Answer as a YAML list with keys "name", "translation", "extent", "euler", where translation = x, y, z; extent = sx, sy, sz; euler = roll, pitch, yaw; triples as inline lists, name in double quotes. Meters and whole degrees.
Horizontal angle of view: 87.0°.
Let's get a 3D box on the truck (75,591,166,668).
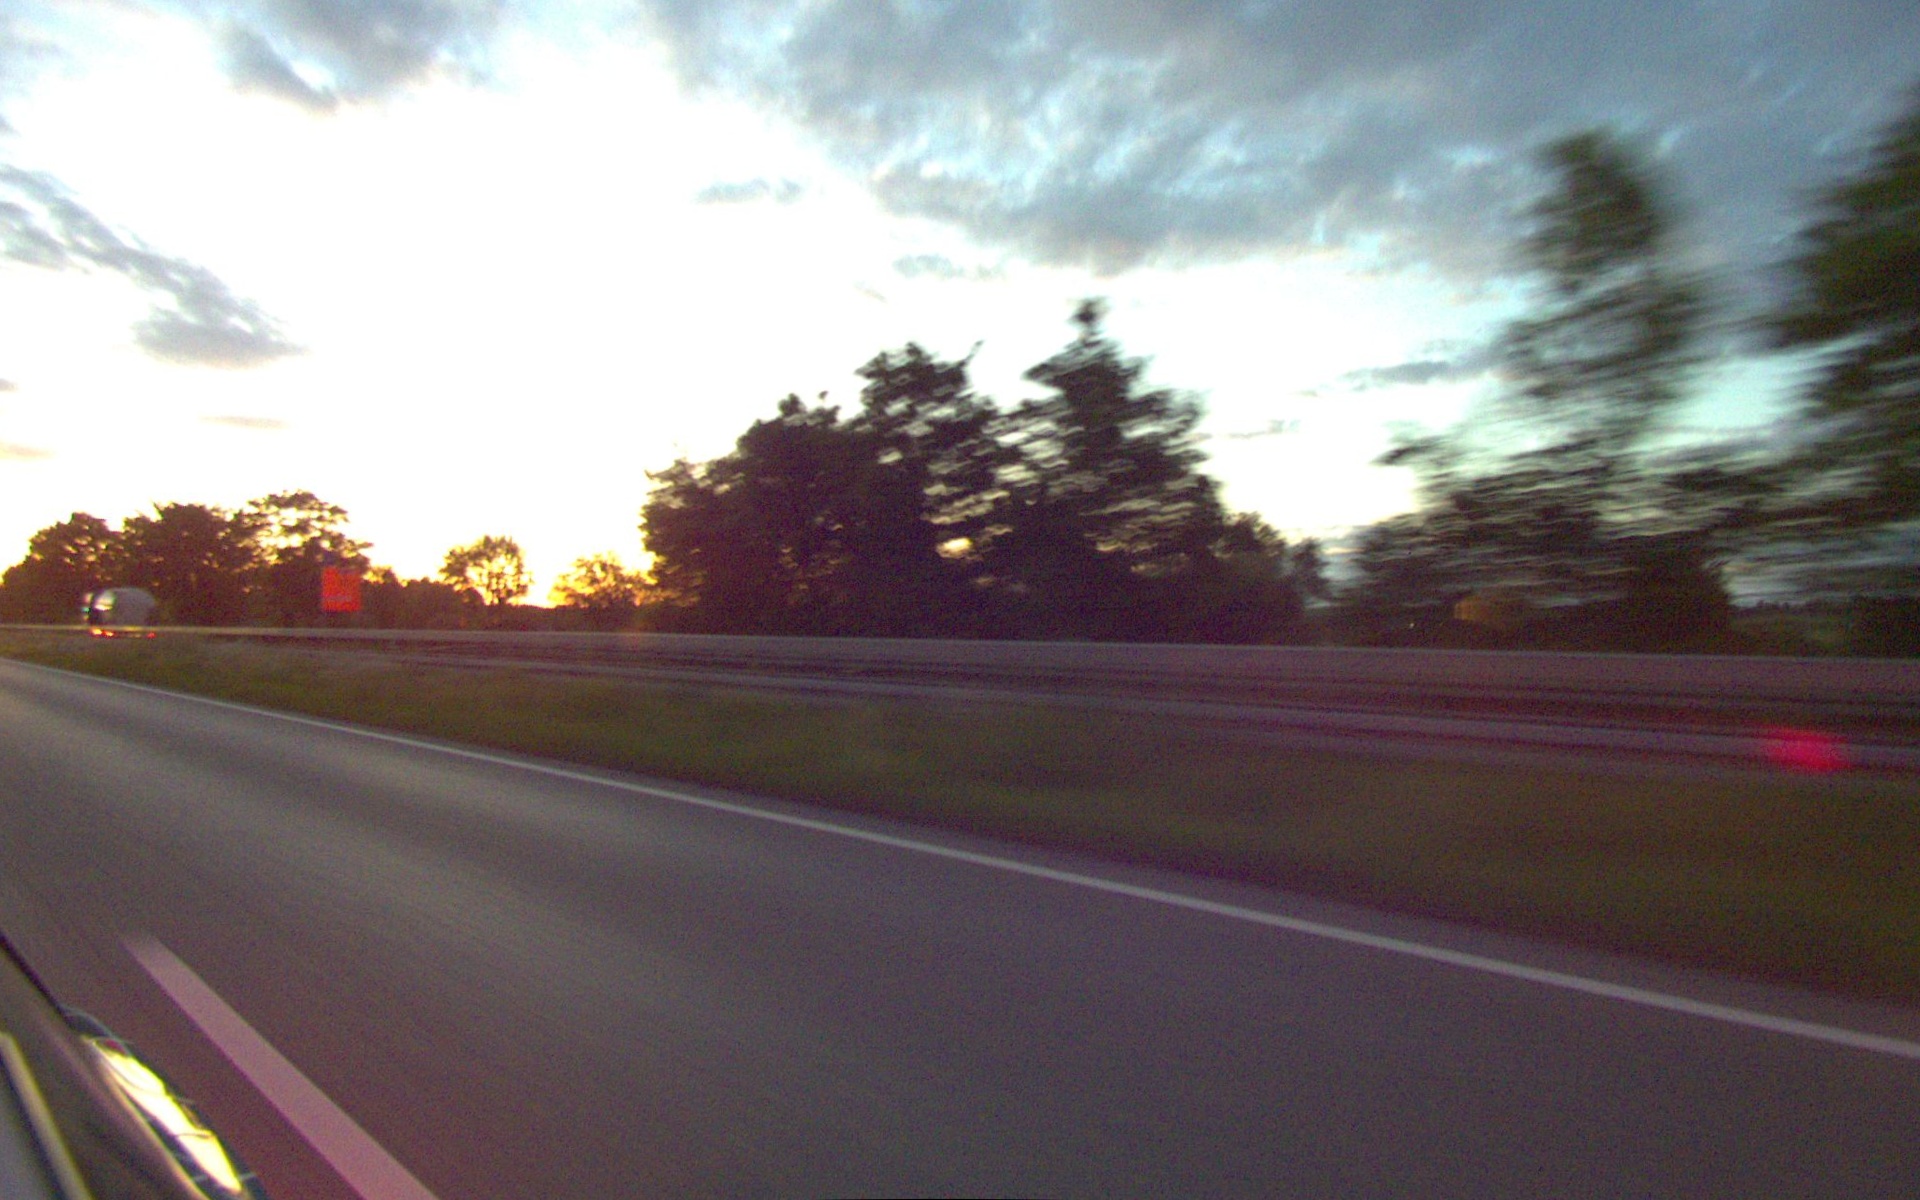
- name: "truck"
  translation: [-62.440, 2.089, 75.097]
  extent: [12.602, 5.295, 3.169]
  euler: [-1, -1, 41]
